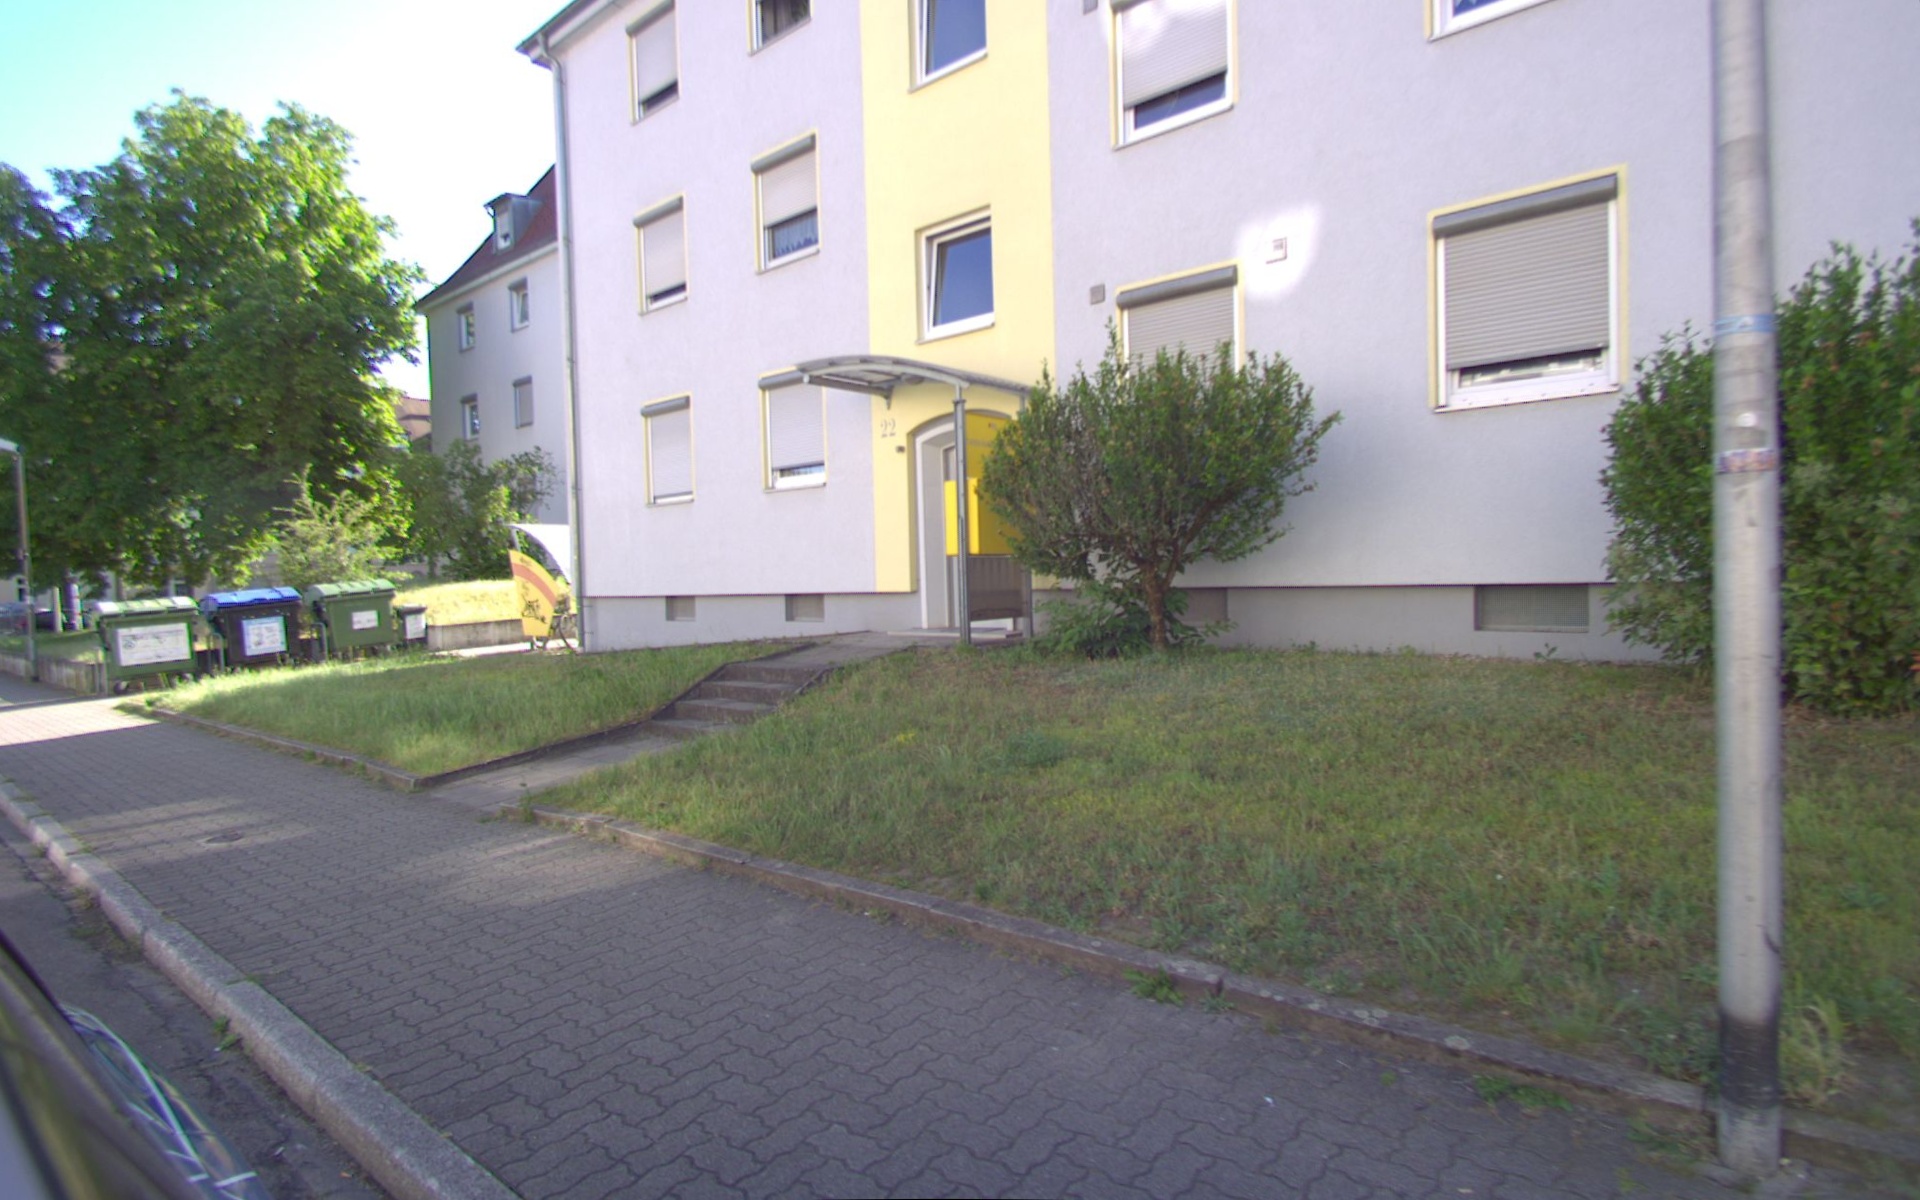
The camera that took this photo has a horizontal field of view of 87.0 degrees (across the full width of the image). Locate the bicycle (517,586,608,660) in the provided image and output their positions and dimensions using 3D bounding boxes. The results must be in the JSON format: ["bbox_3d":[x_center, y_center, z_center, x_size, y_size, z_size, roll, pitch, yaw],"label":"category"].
[{"bbox_3d":[-7.176,0.407,18.222,2.008,1.260,0.633,-1,2,41],"label":"bicycle"}]

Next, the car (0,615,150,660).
[{"bbox_3d":[-33.672,1.375,38.589,1.728,1.508,4.087,-1,0,40],"label":"car"}]

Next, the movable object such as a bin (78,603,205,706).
[{"bbox_3d":[-13.246,0.845,16.390,1.197,1.470,1.302,-1,5,41],"label":"movable object such as a bin"}]

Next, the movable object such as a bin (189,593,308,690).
[{"bbox_3d":[-12.341,0.690,17.563,1.082,1.470,1.342,-1,5,41],"label":"movable object such as a bin"}]

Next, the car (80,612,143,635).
[{"bbox_3d":[-59.783,1.667,71.316,1.544,1.519,3.152,-1,0,40],"label":"car"}]

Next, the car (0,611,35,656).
[{"bbox_3d":[-37.185,1.293,39.337,3.306,1.667,1.655,-1,0,45],"label":"car"}]

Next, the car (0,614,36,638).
[{"bbox_3d":[-59.687,1.628,62.475,1.624,1.456,3.737,-1,0,42],"label":"car"}]

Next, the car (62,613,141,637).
[{"bbox_3d":[-56.339,1.628,66.449,1.624,1.456,3.737,-1,0,42],"label":"car"}]

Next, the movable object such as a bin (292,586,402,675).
[{"bbox_3d":[-11.353,0.546,18.766,1.072,1.463,1.347,-1,5,41],"label":"movable object such as a bin"}]
